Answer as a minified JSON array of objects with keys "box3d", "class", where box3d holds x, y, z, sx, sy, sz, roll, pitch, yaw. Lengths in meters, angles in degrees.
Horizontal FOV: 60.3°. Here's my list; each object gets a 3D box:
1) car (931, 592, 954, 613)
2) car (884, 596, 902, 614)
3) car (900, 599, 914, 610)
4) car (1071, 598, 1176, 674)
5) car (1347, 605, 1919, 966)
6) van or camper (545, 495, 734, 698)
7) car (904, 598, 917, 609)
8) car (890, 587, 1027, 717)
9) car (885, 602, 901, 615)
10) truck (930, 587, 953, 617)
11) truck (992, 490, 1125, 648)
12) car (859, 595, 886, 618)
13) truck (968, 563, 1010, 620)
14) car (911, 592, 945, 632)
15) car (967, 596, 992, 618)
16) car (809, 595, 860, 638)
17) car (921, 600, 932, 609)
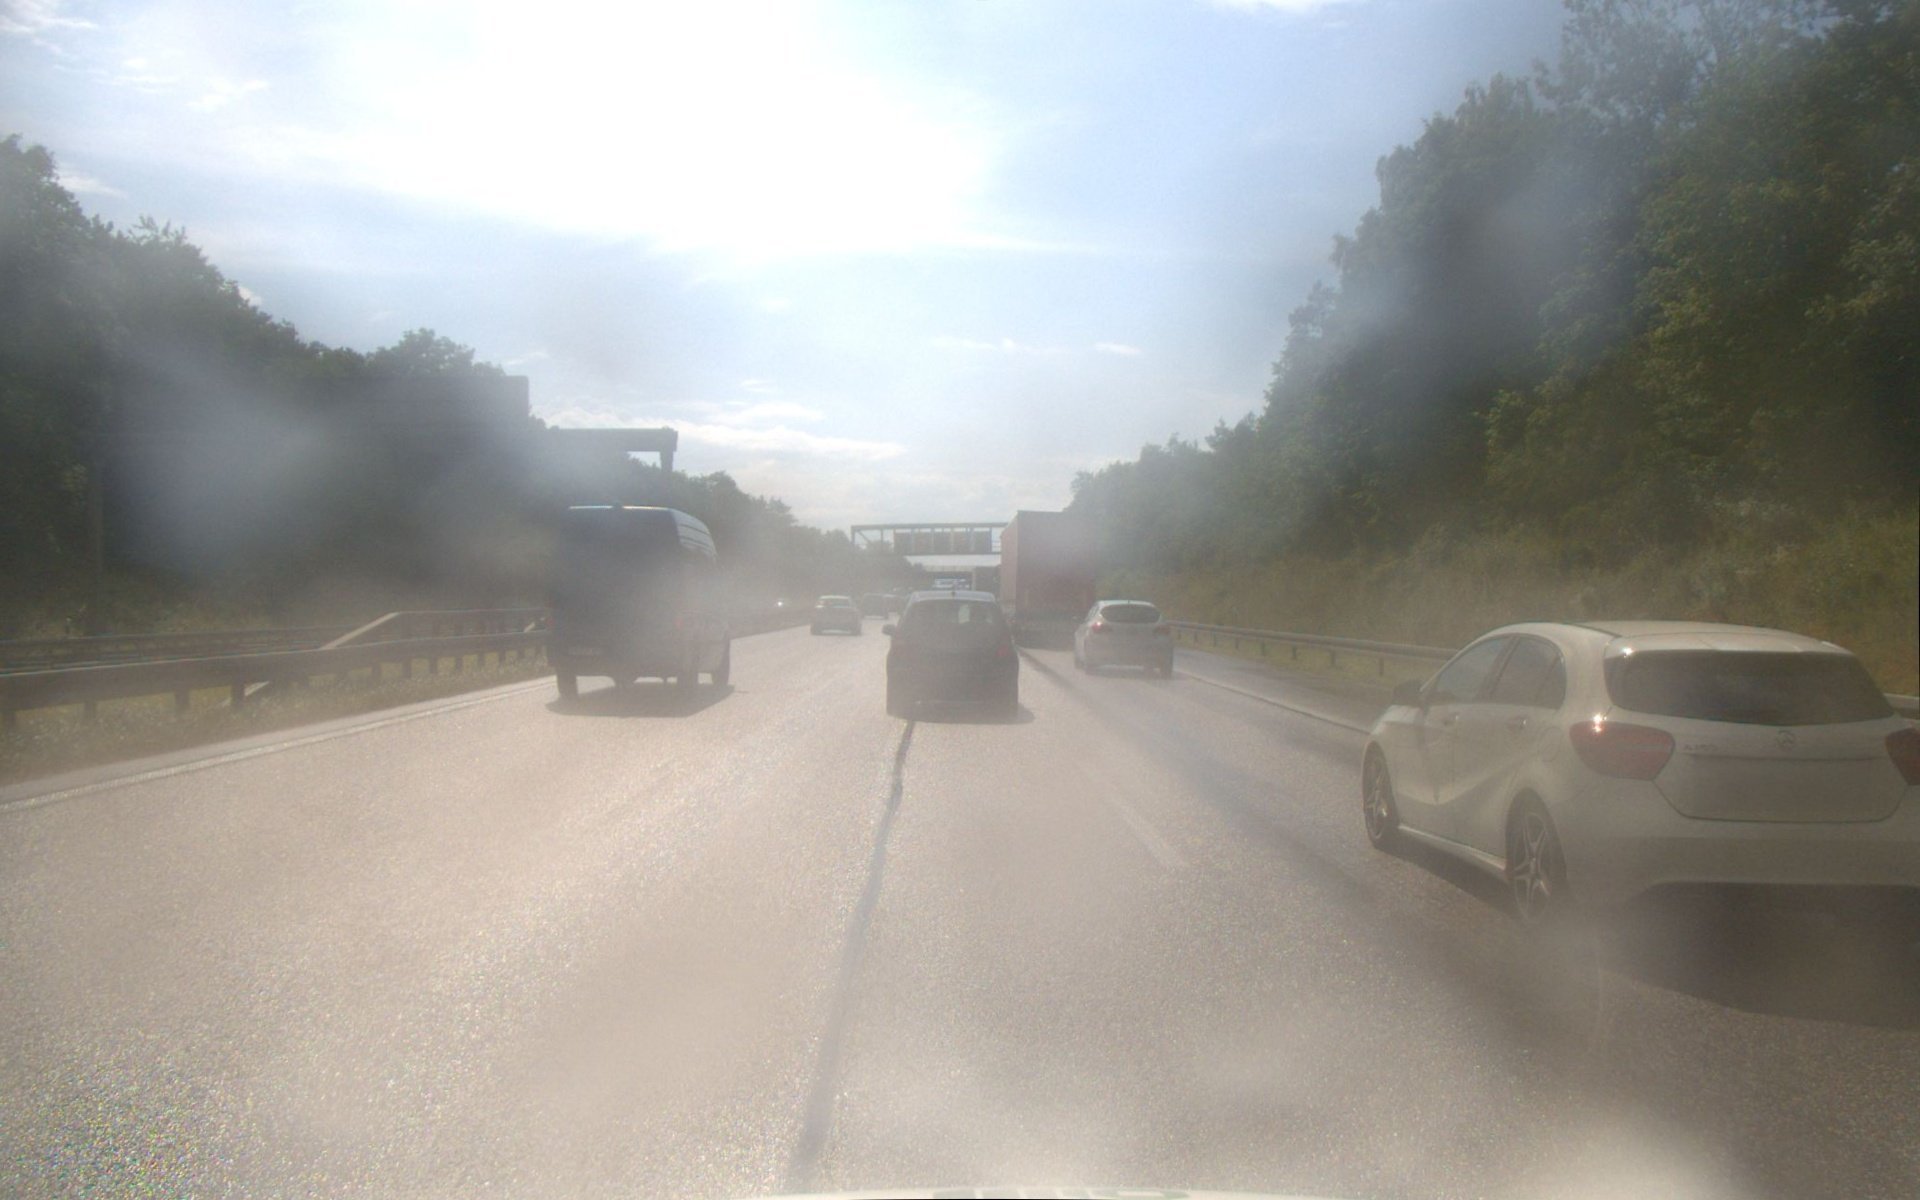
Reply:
[{"box3d":[-1.232,0.176,114.865,1.521,1.407,3.208,1,0,-2],"class":"car"},{"box3d":[-5.463,0.378,135.619,1.431,1.418,3.310,1,0,-2],"class":"car"},{"box3d":[-6.167,0.547,192.009,1.518,1.289,3.483,1,0,-3],"class":"car"},{"box3d":[3.336,0.703,34.338,1.647,1.467,3.903,1,0,-2],"class":"car"},{"box3d":[3.422,0.768,8.880,1.657,1.450,4.219,1,0,0],"class":"car"},{"box3d":[-4.703,-0.039,25.054,1.953,2.715,5.382,1,0,-2],"class":"van or camper"},{"box3d":[-6.128,0.462,204.943,1.518,1.289,3.483,1,0,-3],"class":"car"},{"box3d":[-0.081,0.654,22.422,1.683,1.595,3.483,1,0,-2],"class":"car"},{"box3d":[-6.573,0.827,161.357,1.518,1.289,3.483,1,0,-3],"class":"car"},{"box3d":[-1.853,0.215,162.590,2.148,2.926,4.847,1,0,-2],"class":"truck"},{"box3d":[3.224,-0.935,59.503,3.575,4.803,16.776,1,0,0],"class":"truck"},{"box3d":[-5.779,0.409,109.482,1.716,1.482,3.388,1,0,-2],"class":"car"},{"box3d":[2.358,-0.678,141.046,3.189,4.558,12.419,1,0,0],"class":"truck"},{"box3d":[-1.497,0.535,76.269,1.501,1.777,3.483,1,0,-2],"class":"car"},{"box3d":[1.340,0.481,113.260,1.521,1.407,3.208,1,0,-2],"class":"car"},{"box3d":[-4.856,0.627,64.424,1.817,1.578,3.483,1,0,-2],"class":"car"},{"box3d":[-4.768,0.654,234.815,1.518,1.289,3.483,1,0,-3],"class":"car"}]
